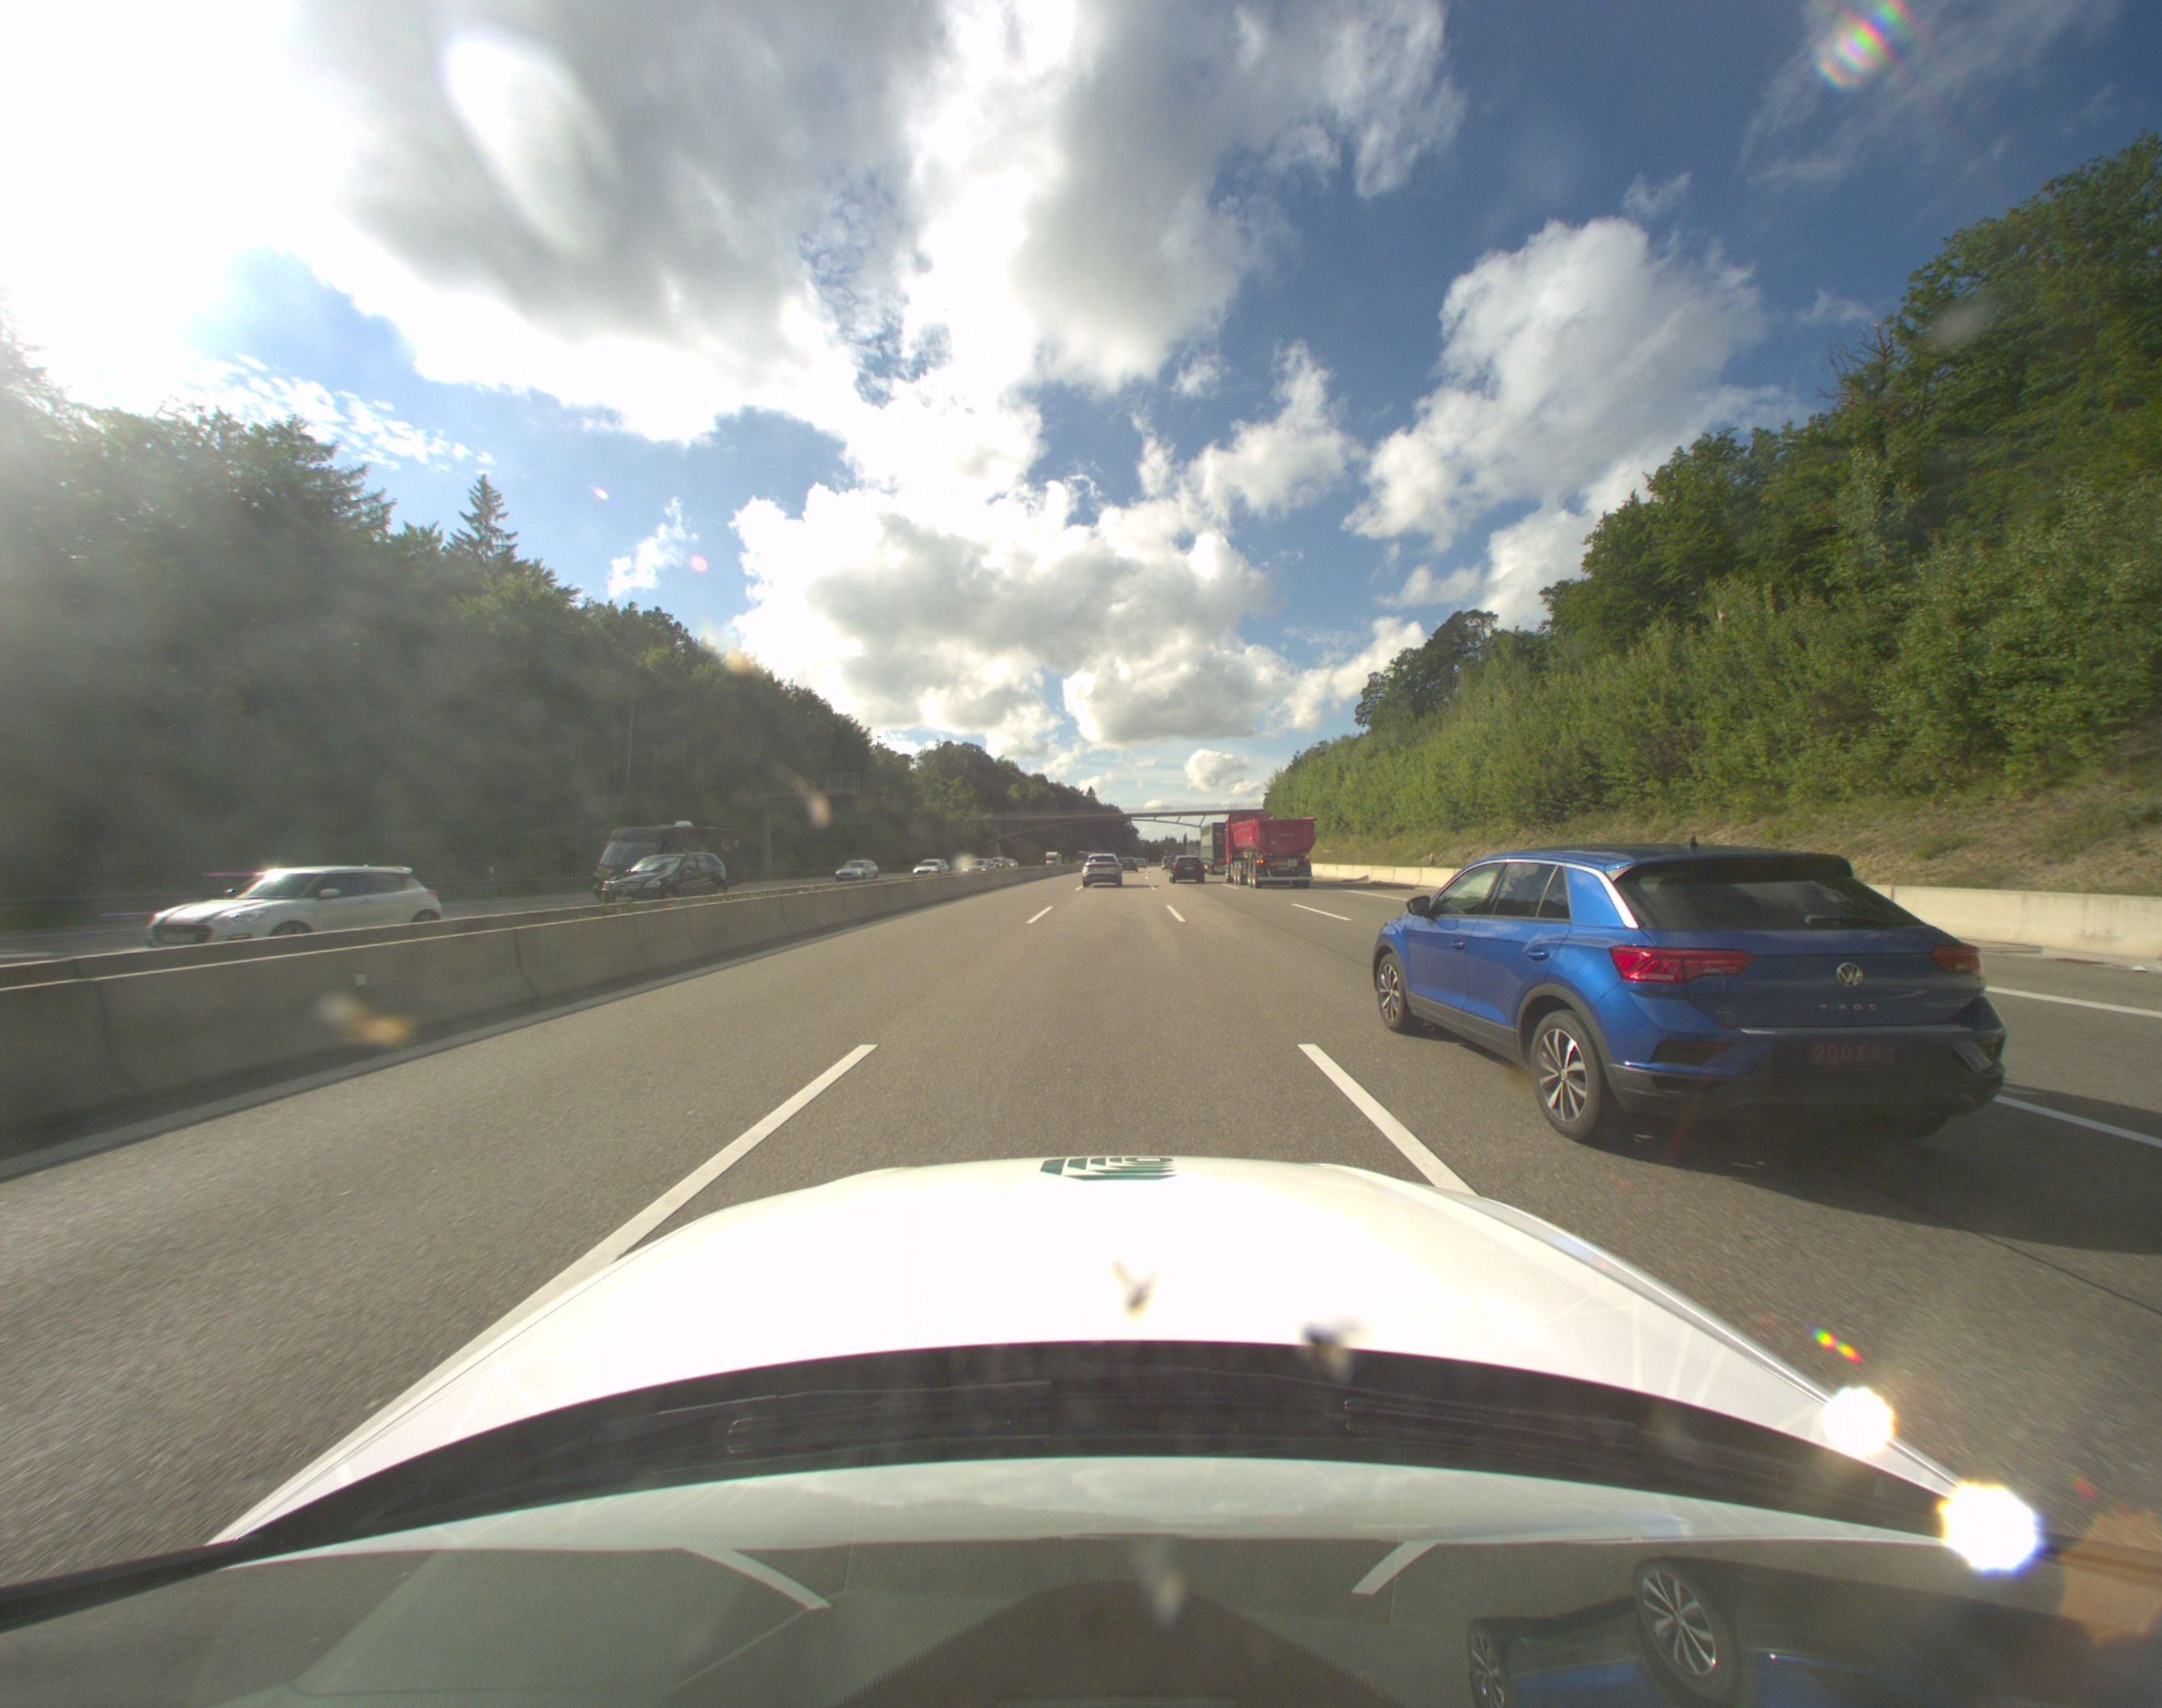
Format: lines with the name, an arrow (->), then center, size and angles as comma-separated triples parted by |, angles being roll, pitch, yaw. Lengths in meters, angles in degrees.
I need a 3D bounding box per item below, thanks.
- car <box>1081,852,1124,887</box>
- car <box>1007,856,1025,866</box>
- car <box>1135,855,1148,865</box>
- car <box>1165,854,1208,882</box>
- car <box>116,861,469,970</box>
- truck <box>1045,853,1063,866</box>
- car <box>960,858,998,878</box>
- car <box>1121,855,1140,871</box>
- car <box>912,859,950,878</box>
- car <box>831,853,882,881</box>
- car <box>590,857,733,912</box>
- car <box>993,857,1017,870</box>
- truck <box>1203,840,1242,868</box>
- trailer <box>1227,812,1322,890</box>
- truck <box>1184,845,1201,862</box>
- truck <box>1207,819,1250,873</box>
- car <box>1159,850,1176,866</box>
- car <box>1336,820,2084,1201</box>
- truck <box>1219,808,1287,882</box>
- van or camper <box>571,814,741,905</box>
car -> 1.160, 0.735, 41.631 | 1.998, 1.616, 5.306 | 0, 0, 3
car -> -9.232, 1.019, 115.993 | 1.836, 1.296, 4.265 | -1, 0, 6
car -> 8.846, 0.880, 119.553 | 1.814, 1.457, 4.004 | -1, 0, 4
car -> 5.746, 0.758, 44.841 | 1.817, 1.457, 3.998 | -1, 0, -1
car -> -13.196, 0.917, 14.103 | 1.808, 1.535, 4.317 | -1, 0, 2
truck -> -5.735, 1.159, 172.278 | 2.851, 2.679, 7.019 | -1, 0, 6
car -> -7.096, 0.942, 57.232 | 1.836, 1.296, 4.263 | -1, 0, 4
car -> 4.890, 0.875, 80.659 | 1.814, 1.546, 4.005 | 0, 0, 4
car -> -10.877, 1.042, 59.434 | 1.838, 1.296, 4.260 | -1, 0, 2
car -> -14.676, 0.841, 53.540 | 1.836, 1.744, 4.264 | -1, 0, 4
car -> -12.982, 0.879, 25.607 | 1.915, 1.540, 4.704 | -1, 0, 2
car -> -8.078, 0.987, 86.713 | 1.836, 1.296, 4.264 | -1, 0, 5
truck -> 14.209, -0.002, 82.315 | 2.701, 2.739, 8.057 | -1, 0, 2
trailer -> 9.013, -0.115, 39.090 | 2.699, 3.231, 9.740 | -1, 0, 3
truck -> 20.461, -0.136, 149.416 | 2.829, 2.925, 8.404 | -1, 0, 8
truck -> 11.723, -0.559, 65.063 | 3.099, 3.935, 10.439 | -1, 0, 10
car -> 10.147, 0.447, 95.685 | 1.885, 1.856, 4.105 | -1, 0, 4
car -> 3.344, 0.648, 5.656 | 1.767, 1.530, 4.458 | -2, 0, 1
truck -> 9.256, -0.441, 44.315 | 2.699, 3.718, 5.822 | -1, 0, 3
van or camper -> -16.243, 0.182, 31.830 | 2.549, 3.125, 7.337 | -1, 0, 2
